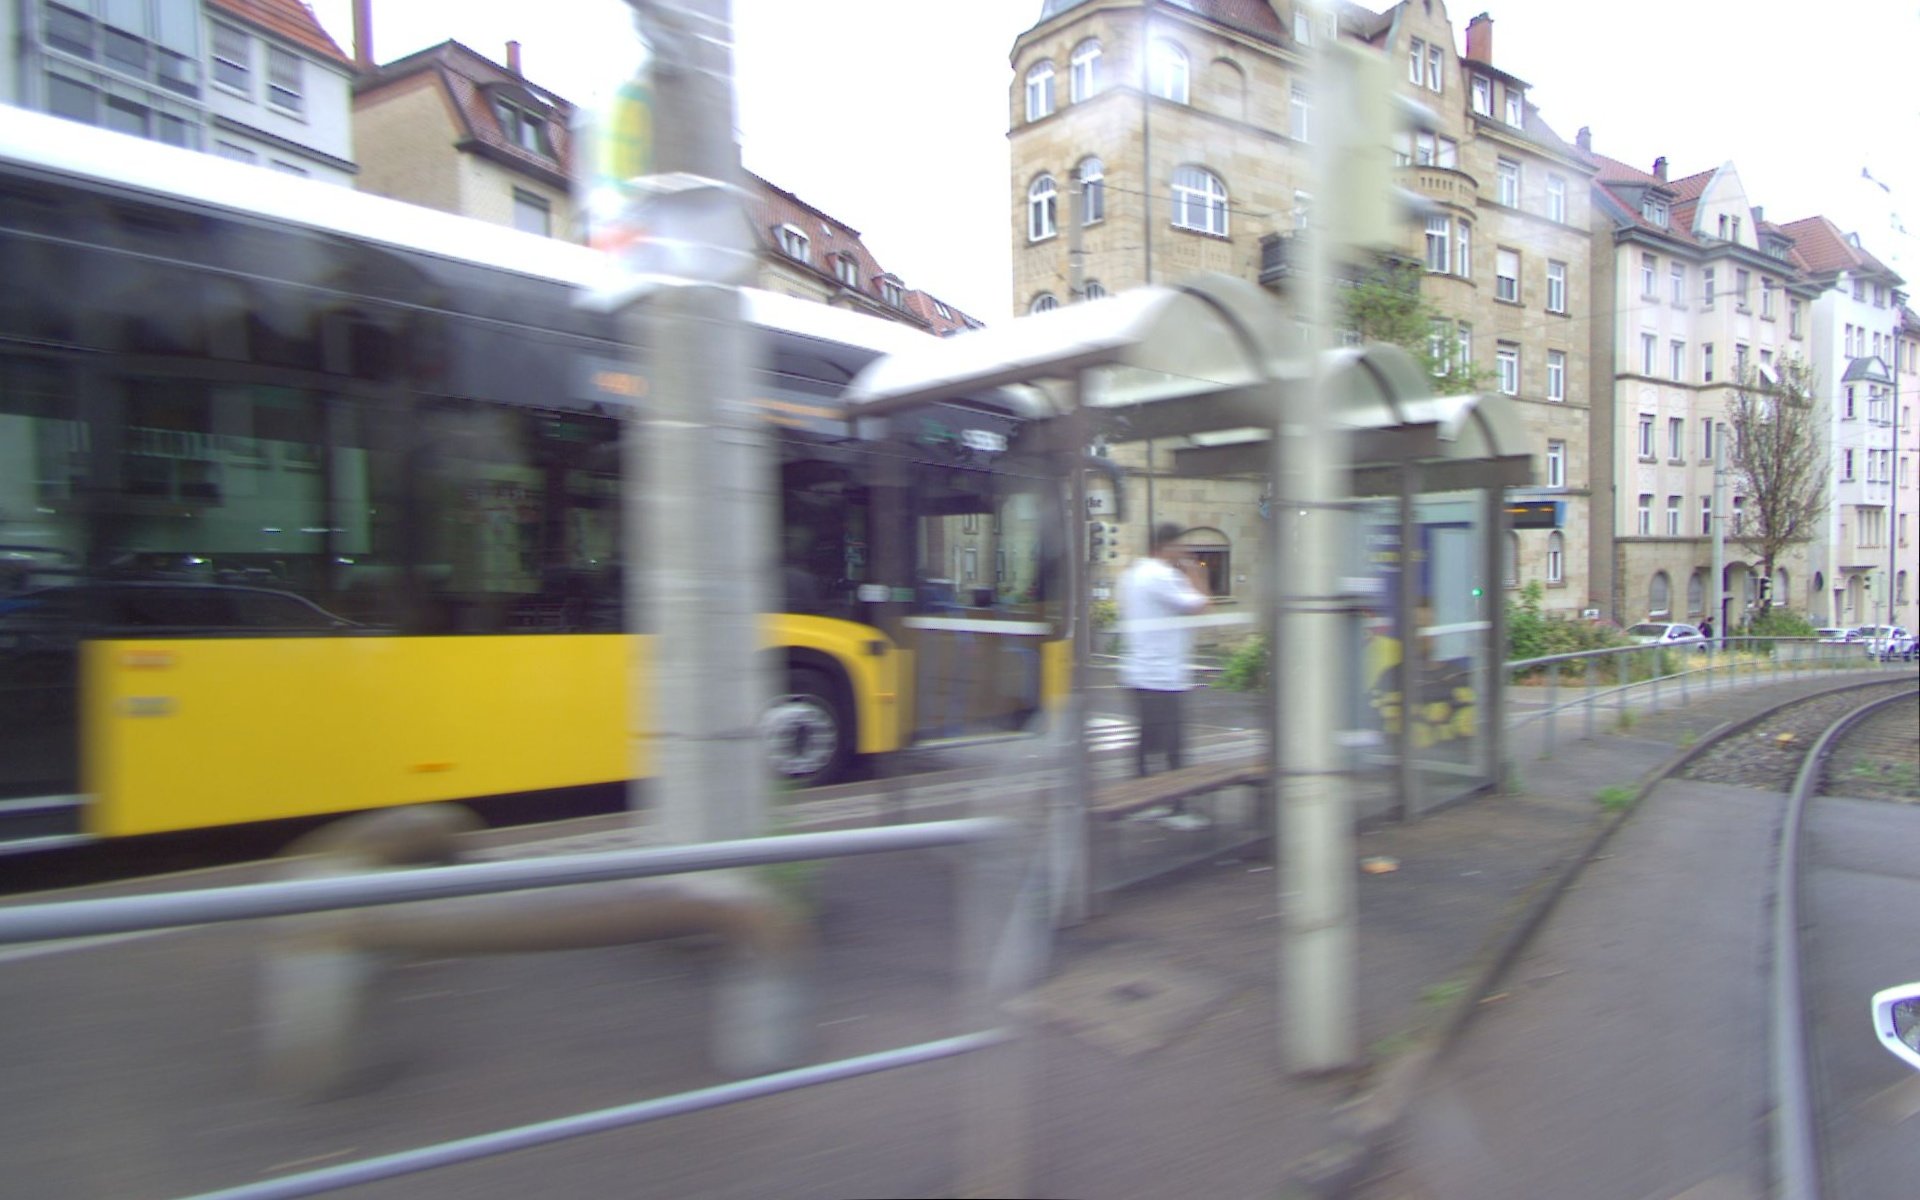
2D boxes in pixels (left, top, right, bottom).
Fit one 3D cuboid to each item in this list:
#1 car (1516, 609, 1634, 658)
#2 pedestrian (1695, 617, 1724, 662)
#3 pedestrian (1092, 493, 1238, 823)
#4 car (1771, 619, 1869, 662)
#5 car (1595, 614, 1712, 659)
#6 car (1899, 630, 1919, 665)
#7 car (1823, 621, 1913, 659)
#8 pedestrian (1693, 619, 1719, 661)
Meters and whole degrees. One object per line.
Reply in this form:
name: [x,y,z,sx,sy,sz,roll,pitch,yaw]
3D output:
car: [20.318,1.114,33.148,4.129,1.461,1.621,2,0,-32]
pedestrian: [27.346,1.433,36.645,0.613,1.614,0.622,2,0,-31]
pedestrian: [1.181,0.315,5.805,0.539,1.775,0.570,2,0,-43]
car: [37.999,1.789,44.365,4.483,1.553,1.982,4,2,-32]
car: [24.584,1.289,35.547,4.817,1.461,1.707,2,0,-33]
car: [50.489,2.520,51.598,4.757,1.755,1.984,3,-1,-30]
car: [42.748,1.876,47.272,4.483,1.644,1.913,2,-1,-31]
pedestrian: [27.753,1.490,37.363,0.613,1.552,0.517,2,0,-31]
